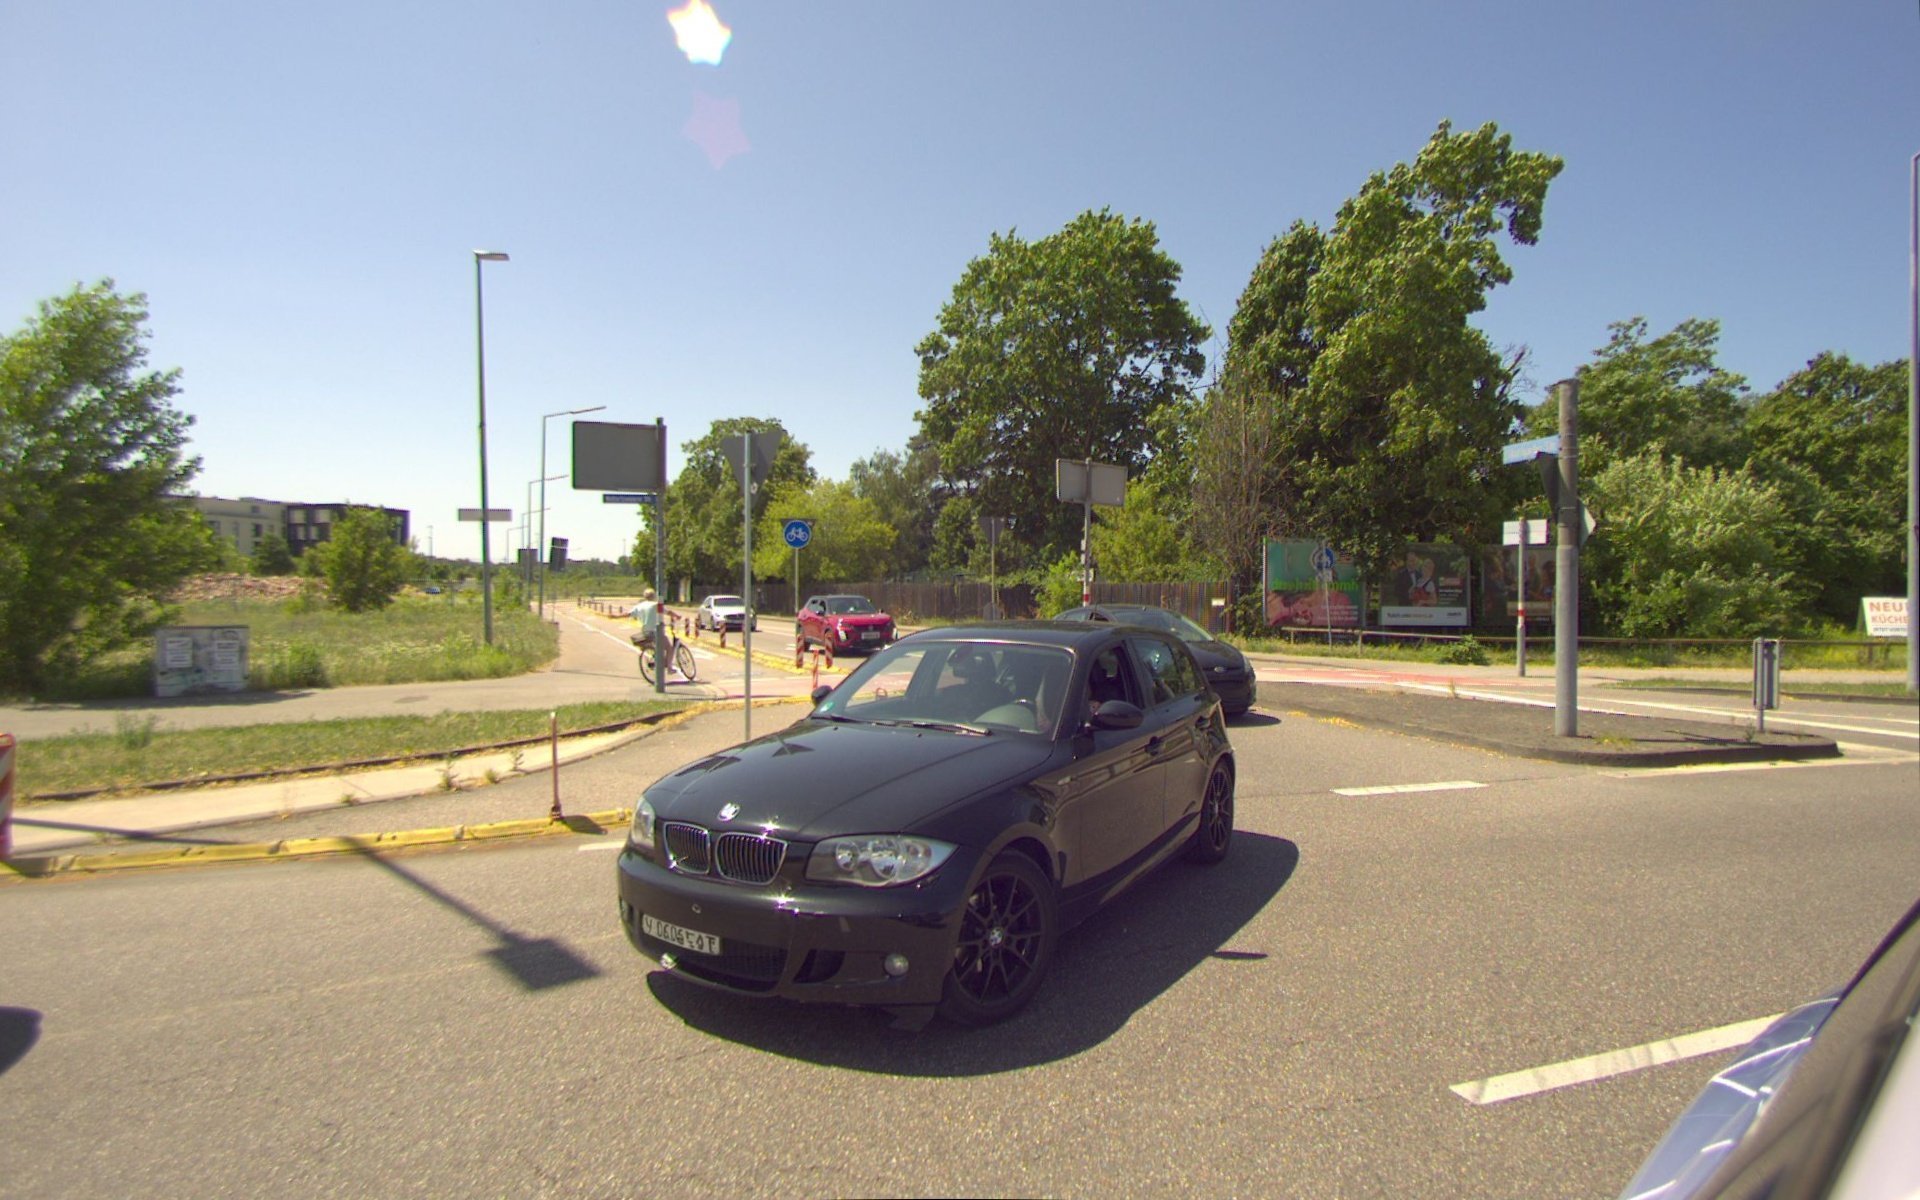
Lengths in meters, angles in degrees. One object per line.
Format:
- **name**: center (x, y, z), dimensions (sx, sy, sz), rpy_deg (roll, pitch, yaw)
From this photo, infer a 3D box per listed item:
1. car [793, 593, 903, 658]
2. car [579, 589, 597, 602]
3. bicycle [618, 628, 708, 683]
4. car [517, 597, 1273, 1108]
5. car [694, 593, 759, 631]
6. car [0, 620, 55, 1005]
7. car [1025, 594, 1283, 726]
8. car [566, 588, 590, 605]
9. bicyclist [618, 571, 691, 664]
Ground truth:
- **car**: center (-3.030, 0.604, 26.593), dimensions (1.685, 1.547, 4.219), rpy_deg (0, 0, -24)
- **car**: center (-47.116, -0.554, 128.172), dimensions (1.724, 1.564, 3.700), rpy_deg (0, 0, -26)
- **bicycle**: center (-5.515, 1.010, 18.912), dimensions (0.621, 0.890, 1.863), rpy_deg (0, 1, 21)
- **car**: center (0.106, 0.723, 5.060), dimensions (1.790, 1.458, 3.952), rpy_deg (-1, 0, 33)
- **car**: center (-9.588, 0.453, 41.341), dimensions (1.826, 1.446, 4.007), rpy_deg (-1, 1, -25)
- **car**: center (-5.327, 0.776, 2.678), dimensions (3.995, 1.421, 1.756), rpy_deg (0, 0, -15)
- **car**: center (2.489, 0.693, 13.930), dimensions (1.600, 1.527, 3.826), rpy_deg (0, 0, -24)
- **car**: center (-35.687, -0.335, 94.480), dimensions (1.724, 1.564, 3.700), rpy_deg (0, 0, -26)
- **bicyclist**: center (-5.640, 0.310, 18.730), dimensions (0.740, 1.661, 1.154), rpy_deg (0, 0, 22)
